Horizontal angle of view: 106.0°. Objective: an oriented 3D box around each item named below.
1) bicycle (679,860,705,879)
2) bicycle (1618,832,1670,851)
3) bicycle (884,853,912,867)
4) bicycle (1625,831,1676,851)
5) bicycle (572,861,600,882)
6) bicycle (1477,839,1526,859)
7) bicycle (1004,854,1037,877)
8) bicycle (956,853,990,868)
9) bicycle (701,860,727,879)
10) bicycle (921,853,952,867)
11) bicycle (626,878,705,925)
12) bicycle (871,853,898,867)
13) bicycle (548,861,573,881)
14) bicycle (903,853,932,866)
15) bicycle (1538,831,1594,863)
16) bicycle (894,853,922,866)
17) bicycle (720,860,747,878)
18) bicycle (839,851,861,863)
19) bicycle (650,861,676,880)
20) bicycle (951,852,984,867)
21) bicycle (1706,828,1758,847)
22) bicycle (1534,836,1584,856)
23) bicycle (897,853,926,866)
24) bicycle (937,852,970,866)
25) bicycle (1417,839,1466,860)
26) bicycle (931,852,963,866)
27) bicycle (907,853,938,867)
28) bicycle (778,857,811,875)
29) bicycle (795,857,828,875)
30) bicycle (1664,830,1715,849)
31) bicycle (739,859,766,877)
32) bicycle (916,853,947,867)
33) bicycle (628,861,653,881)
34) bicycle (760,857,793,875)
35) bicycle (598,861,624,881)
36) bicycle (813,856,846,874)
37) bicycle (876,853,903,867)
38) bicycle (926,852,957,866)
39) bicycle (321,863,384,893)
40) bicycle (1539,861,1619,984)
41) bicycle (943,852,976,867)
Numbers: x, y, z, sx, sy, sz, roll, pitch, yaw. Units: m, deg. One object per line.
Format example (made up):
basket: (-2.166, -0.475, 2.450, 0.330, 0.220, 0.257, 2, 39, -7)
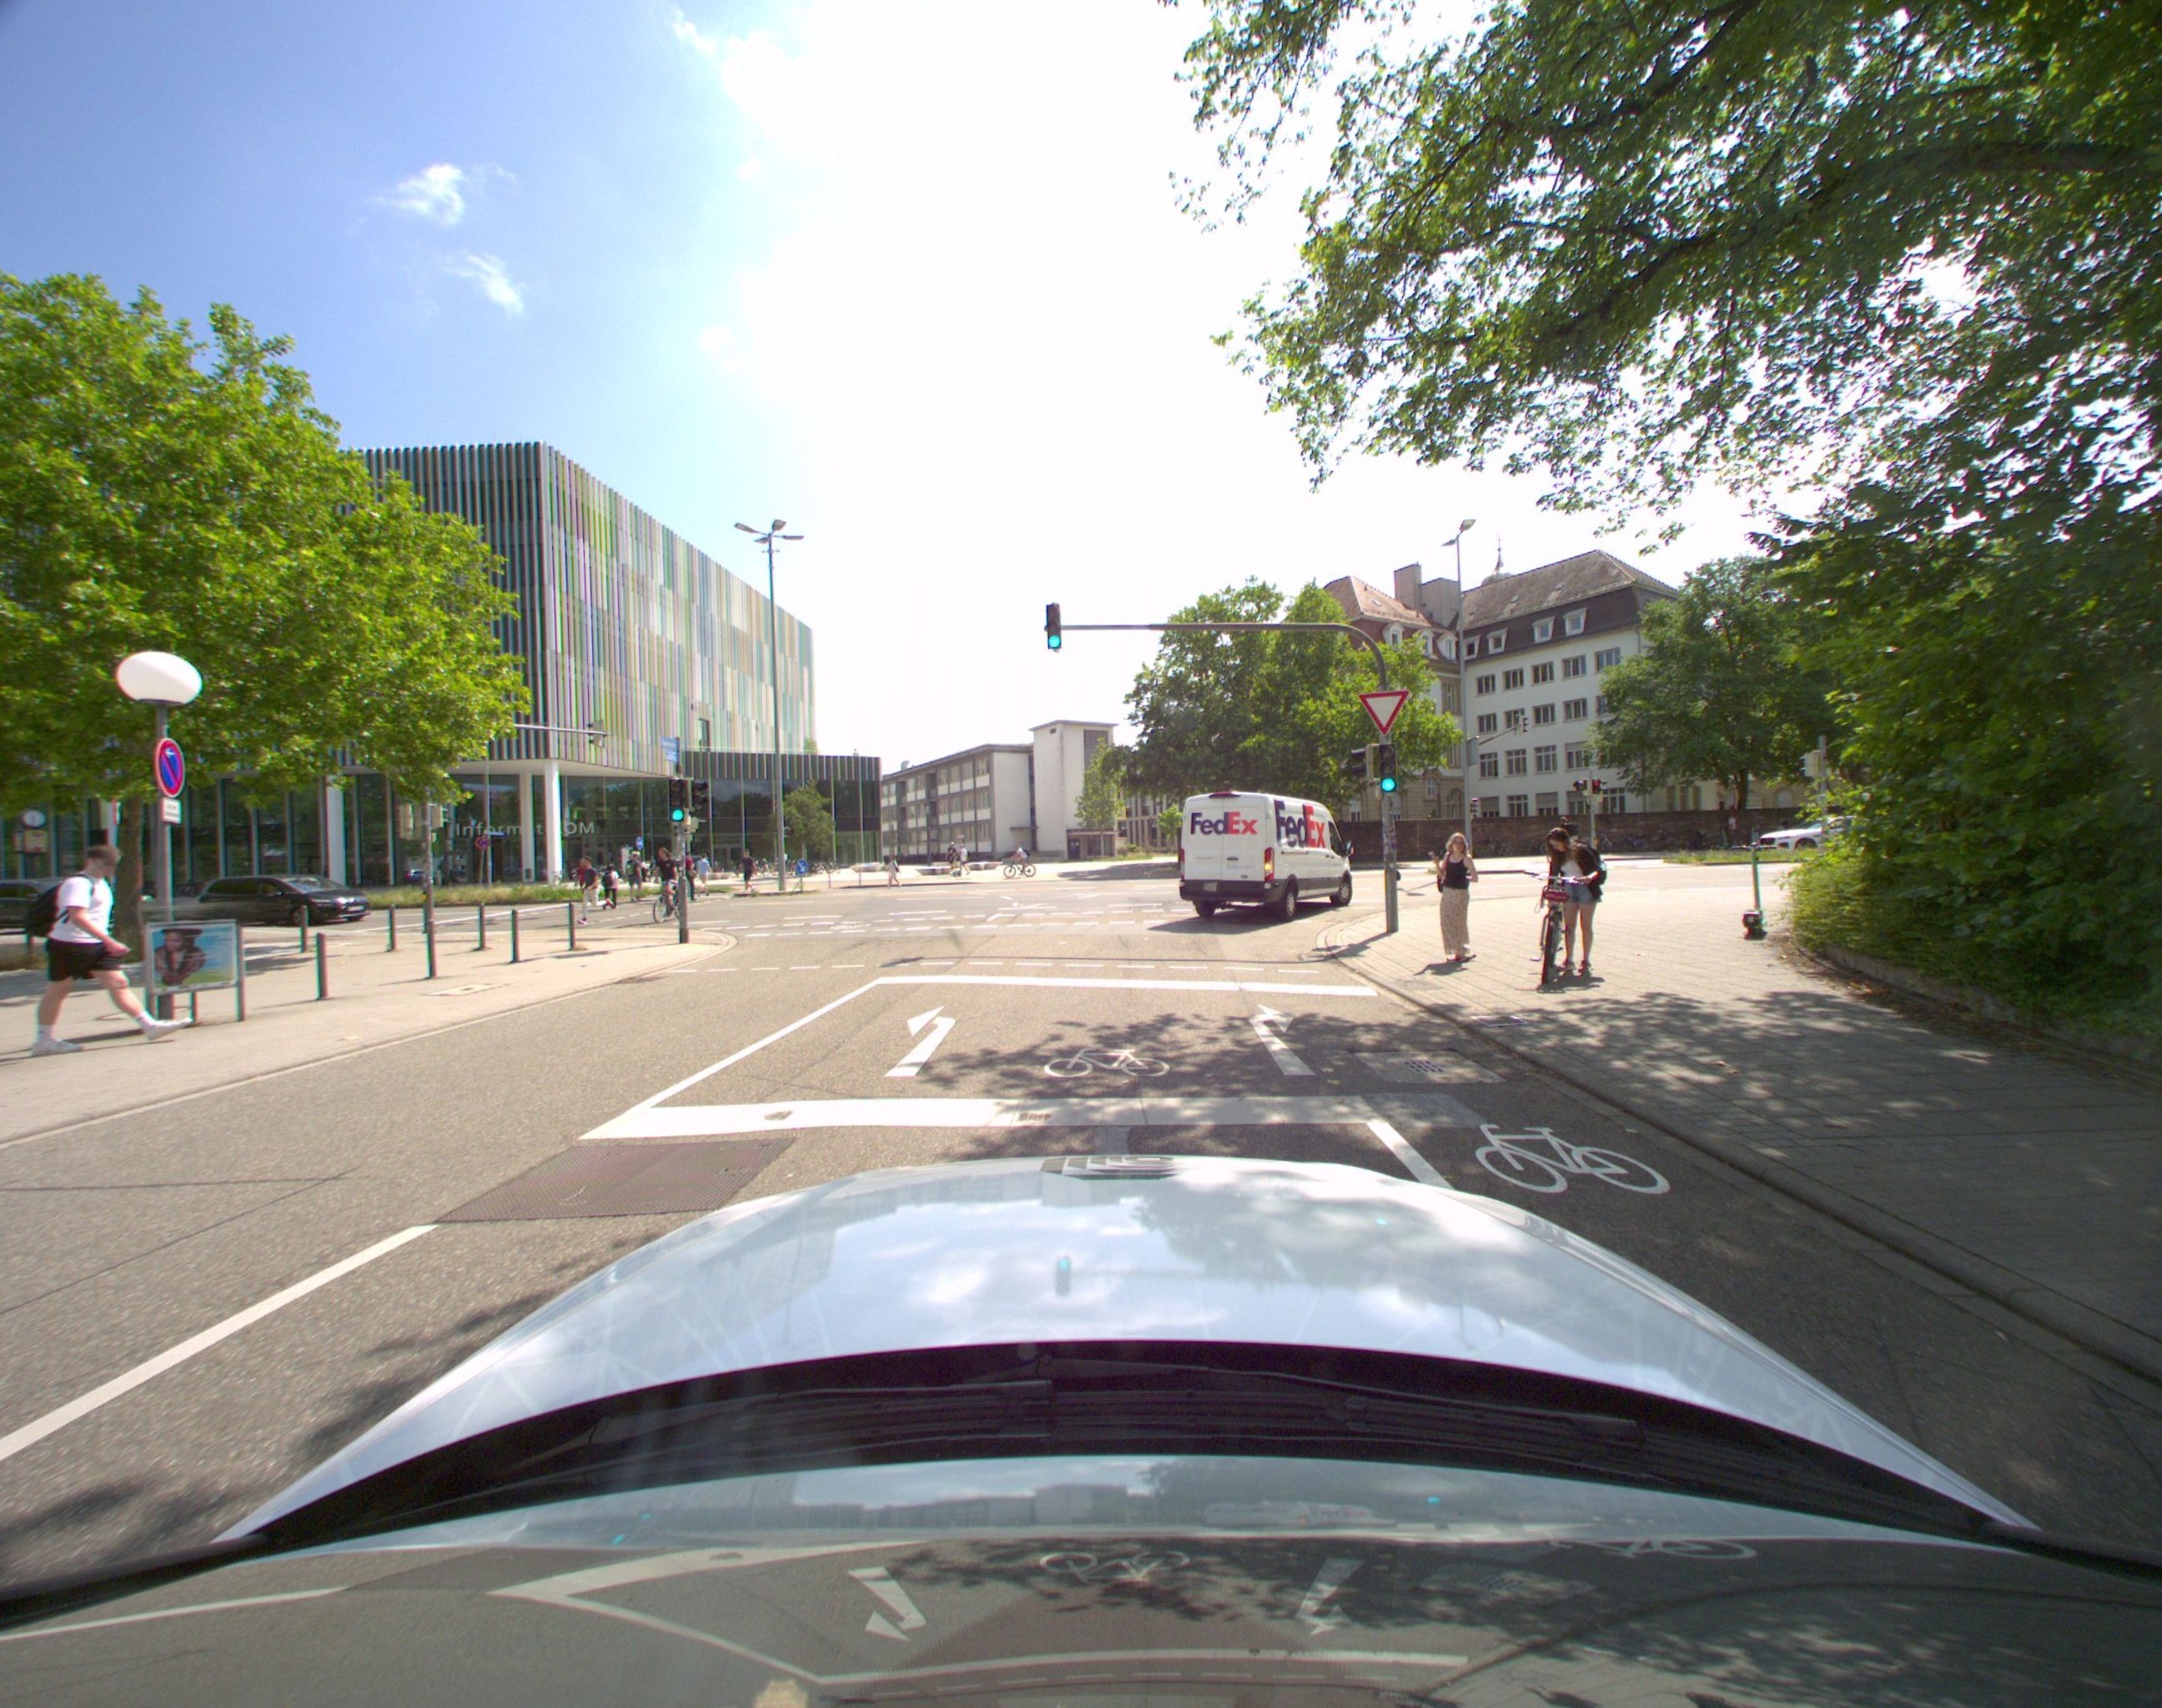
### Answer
bicycle: (-26.956, 1.049, 56.412, 1.206, 1.237, 2.920, -1, 0, -34)
bicycle: (31.633, -0.693, 45.756, 2.374, 0.994, 0.753, -2, 0, -2)
bicycle: (-21.609, 0.711, 96.267, 2.978, 1.574, 1.105, -1, 0, -35)
bicycle: (32.003, -0.716, 45.765, 2.374, 0.994, 0.724, -2, 0, -1)
bicycle: (-31.841, 1.115, 52.322, 1.383, 1.237, 2.920, -1, 0, -34)
bicycle: (23.442, -0.268, 45.390, 2.374, 0.994, 0.696, -2, 0, -2)
bicycle: (-3.224, 0.605, 43.838, 0.840, 1.145, 2.007, -2, 0, 25)
bicycle: (-10.286, 0.587, 77.656, 2.978, 1.363, 1.105, -1, 0, -35)
bicycle: (-25.763, 1.077, 57.158, 1.206, 1.237, 2.920, -1, 0, -34)
bicycle: (-14.995, 0.573, 84.473, 2.978, 1.363, 1.105, -1, 0, -35)
bicycle: (-11.332, 1.267, 22.295, 0.765, 1.122, 2.033, -2, 0, 12)
bicycle: (-24.024, 0.760, 99.377, 2.978, 1.574, 1.105, -1, 0, -35)
bicycle: (-32.976, 1.072, 51.547, 1.206, 1.237, 2.920, -1, 0, -34)
bicycle: (-17.846, 0.637, 88.977, 2.978, 1.363, 1.105, -1, 0, -35)
bicycle: (18.768, -0.278, 31.544, 0.680, 1.185, 1.980, -2, 0, -12)
bicycle: (-19.545, 0.657, 92.058, 2.978, 1.363, 1.105, -1, 0, -35)
bicycle: (-24.714, 1.071, 57.901, 1.206, 1.237, 2.920, -1, 0, -34)
bicycle: (-31.222, 0.435, 110.231, 1.104, 1.574, 2.984, -1, 0, 29)
bicycle: (-28.183, 1.100, 54.868, 1.205, 1.237, 2.920, -1, 0, -33)
bicycle: (-10.978, 0.496, 78.780, 2.978, 1.363, 1.105, -1, 0, -35)
bicycle: (36.917, -0.938, 46.187, 2.376, 0.994, 0.753, -2, 0, -4)
bicycle: (26.761, -0.449, 45.580, 2.374, 0.994, 0.724, -2, 0, -2)
bicycle: (-18.898, 0.643, 90.857, 2.978, 1.363, 1.105, -1, 0, -35)
bicycle: (-12.693, 0.500, 81.119, 2.978, 1.363, 1.105, -1, 0, -35)
bicycle: (20.040, -0.276, 45.255, 2.374, 1.058, 0.753, -2, 0, -2)
bicycle: (-13.535, 0.512, 82.311, 2.978, 1.363, 1.105, -1, 0, -35)
bicycle: (-17.016, 0.620, 87.464, 2.978, 1.363, 1.105, -1, 0, -35)
bicycle: (-21.102, 0.901, 59.992, 1.208, 1.237, 2.915, -1, 0, -43)
bicycle: (-20.122, 0.899, 60.682, 1.208, 1.237, 2.915, -1, 0, -43)
bicycle: (34.423, -0.811, 46.087, 2.376, 0.994, 0.753, -2, 0, -5)
bicycle: (-23.633, 0.990, 58.556, 1.206, 1.237, 2.919, -1, 0, -35)
bicycle: (-15.676, 0.593, 85.520, 2.978, 1.363, 1.105, -1, 0, -35)
bicycle: (-29.291, 1.119, 54.110, 1.206, 1.237, 2.920, -1, 0, -34)
bicycle: (-22.111, 0.888, 59.109, 1.208, 1.237, 2.915, -1, 0, -43)
bicycle: (-30.661, 1.110, 53.090, 1.206, 1.237, 2.920, -1, 0, -34)
bicycle: (-18.910, 0.825, 61.246, 1.208, 1.237, 2.915, -1, 0, -43)
bicycle: (-23.061, 0.742, 98.114, 2.978, 1.574, 1.105, -1, 0, -35)
bicycle: (-14.276, 0.530, 83.394, 2.978, 1.363, 1.105, -1, 0, -35)
bicycle: (-46.877, 1.533, 52.481, 1.007, 1.838, 2.961, -1, 0, 12)
bicycle: (5.316, 0.687, 8.742, 0.586, 1.127, 1.753, -5, -1, 30)
bicycle: (-11.965, 0.516, 80.078, 2.978, 1.363, 1.262, -1, 0, -35)
